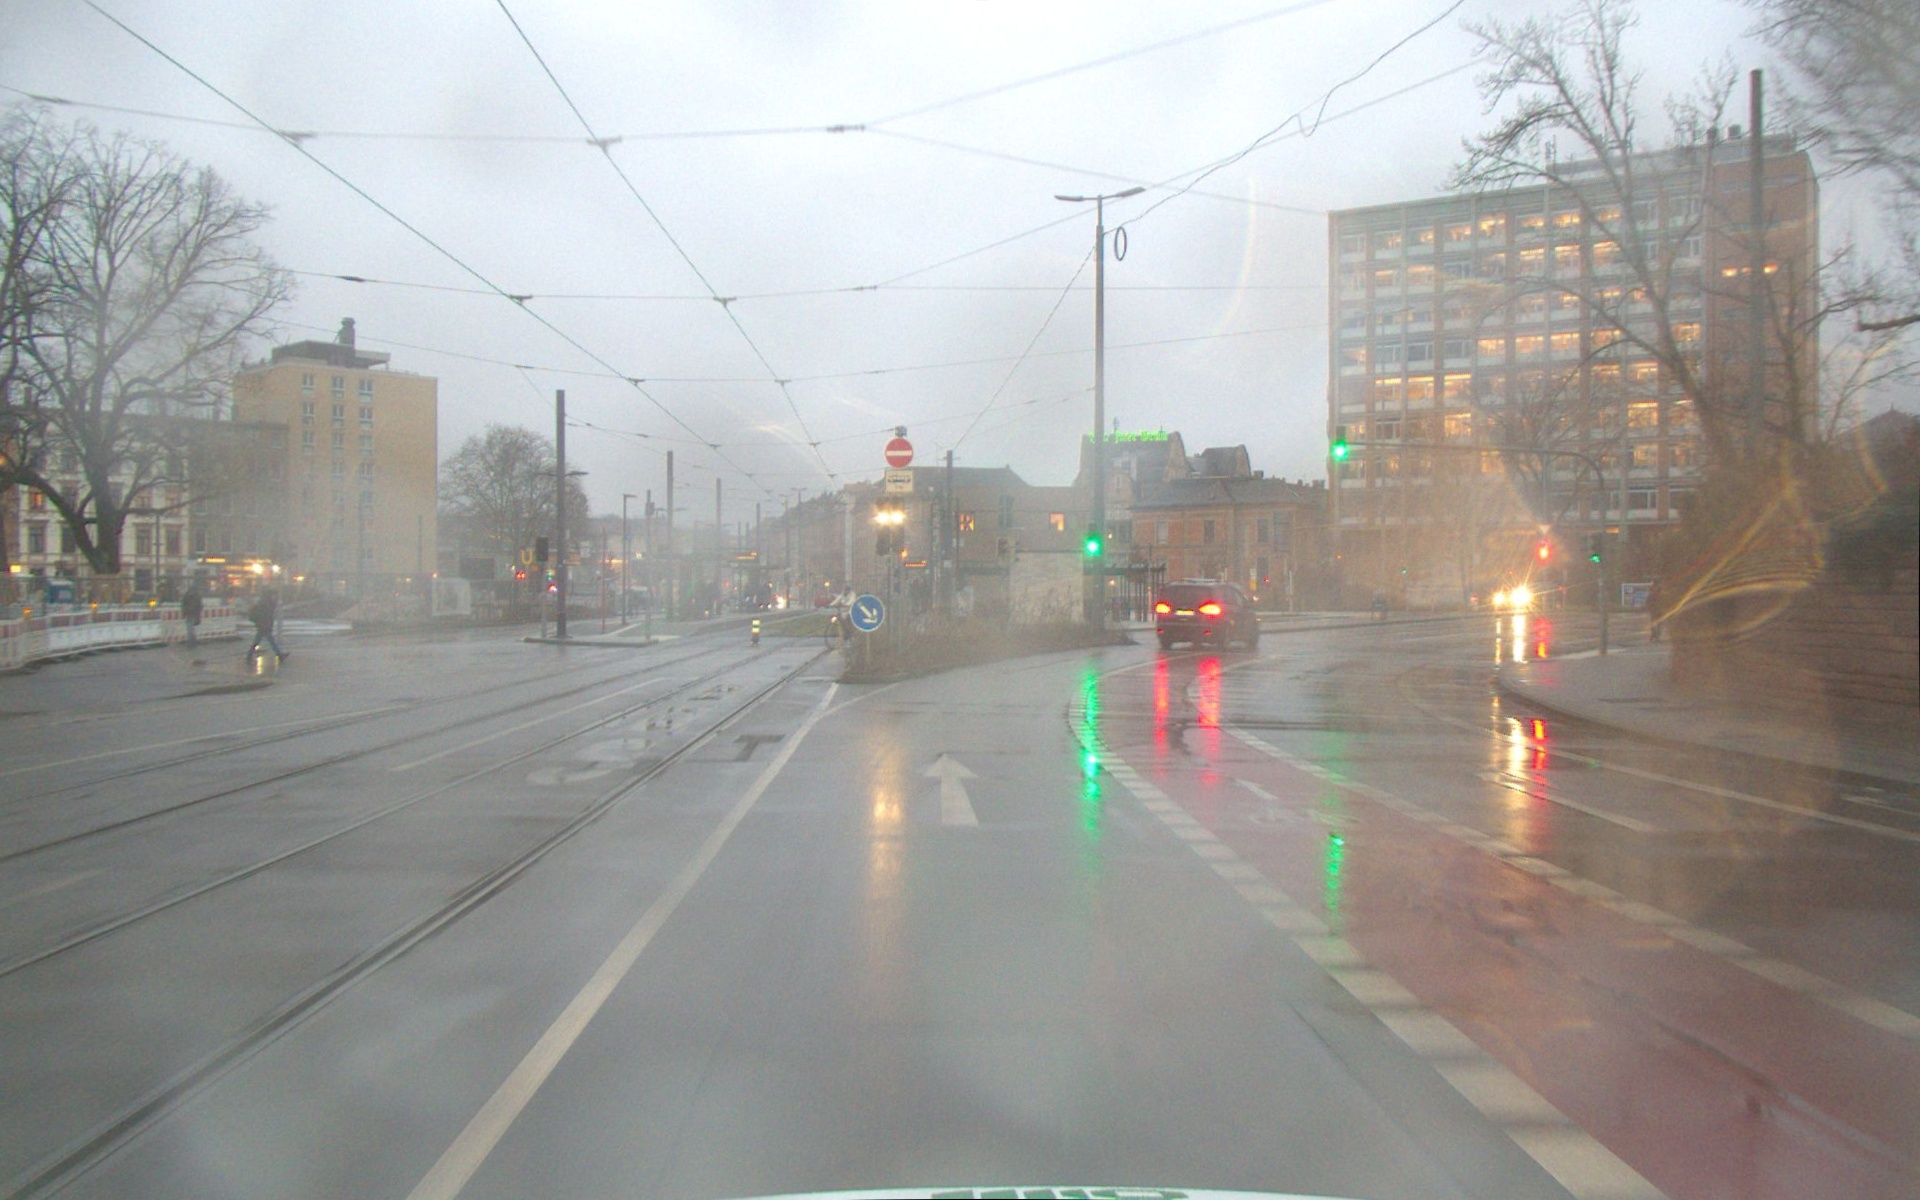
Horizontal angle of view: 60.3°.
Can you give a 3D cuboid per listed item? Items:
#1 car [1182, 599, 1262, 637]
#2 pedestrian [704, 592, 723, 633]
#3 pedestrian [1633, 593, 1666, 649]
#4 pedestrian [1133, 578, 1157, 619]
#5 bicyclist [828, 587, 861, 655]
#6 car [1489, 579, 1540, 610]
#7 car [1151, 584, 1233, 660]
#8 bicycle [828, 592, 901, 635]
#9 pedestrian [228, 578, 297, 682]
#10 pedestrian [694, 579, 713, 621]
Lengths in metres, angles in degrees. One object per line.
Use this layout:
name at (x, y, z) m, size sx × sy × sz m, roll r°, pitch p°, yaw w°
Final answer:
car at (17.425, 1.211, 110.259) m, size 2.237 × 2.321 × 4.965 m, roll 2°, pitch 0°, yaw -40°
pedestrian at (-11.060, 0.570, 74.253) m, size 0.697 × 1.838 × 0.717 m, roll 1°, pitch 0°, yaw -1°
pedestrian at (21.453, 0.642, 51.472) m, size 0.788 × 1.714 × 1.157 m, roll -2°, pitch 0°, yaw 16°
pedestrian at (7.718, -0.061, 68.886) m, size 0.662 × 1.703 × 0.727 m, roll 2°, pitch -1°, yaw 36°
bicyclist at (-3.093, 0.566, 44.427) m, size 0.601 × 1.798 × 0.585 m, roll 2°, pitch -1°, yaw 42°
car at (31.483, -0.313, 93.772) m, size 1.722 × 1.691 × 4.519 m, roll -1°, pitch 0°, yaw 32°
car at (6.255, 0.533, 44.322) m, size 1.612 × 1.850 × 4.003 m, roll 1°, pitch 2°, yaw 16°
bicycle at (-2.586, 0.349, 45.015) m, size 0.617 × 1.093 × 2.197 m, roll 2°, pitch 2°, yaw 40°
pedestrian at (-16.591, 0.701, 39.360) m, size 0.975 × 2.412 × 1.063 m, roll 2°, pitch -1°, yaw 29°
pedestrian at (-11.175, -0.004, 72.028) m, size 0.697 × 1.788 × 0.717 m, roll 1°, pitch 0°, yaw -1°
